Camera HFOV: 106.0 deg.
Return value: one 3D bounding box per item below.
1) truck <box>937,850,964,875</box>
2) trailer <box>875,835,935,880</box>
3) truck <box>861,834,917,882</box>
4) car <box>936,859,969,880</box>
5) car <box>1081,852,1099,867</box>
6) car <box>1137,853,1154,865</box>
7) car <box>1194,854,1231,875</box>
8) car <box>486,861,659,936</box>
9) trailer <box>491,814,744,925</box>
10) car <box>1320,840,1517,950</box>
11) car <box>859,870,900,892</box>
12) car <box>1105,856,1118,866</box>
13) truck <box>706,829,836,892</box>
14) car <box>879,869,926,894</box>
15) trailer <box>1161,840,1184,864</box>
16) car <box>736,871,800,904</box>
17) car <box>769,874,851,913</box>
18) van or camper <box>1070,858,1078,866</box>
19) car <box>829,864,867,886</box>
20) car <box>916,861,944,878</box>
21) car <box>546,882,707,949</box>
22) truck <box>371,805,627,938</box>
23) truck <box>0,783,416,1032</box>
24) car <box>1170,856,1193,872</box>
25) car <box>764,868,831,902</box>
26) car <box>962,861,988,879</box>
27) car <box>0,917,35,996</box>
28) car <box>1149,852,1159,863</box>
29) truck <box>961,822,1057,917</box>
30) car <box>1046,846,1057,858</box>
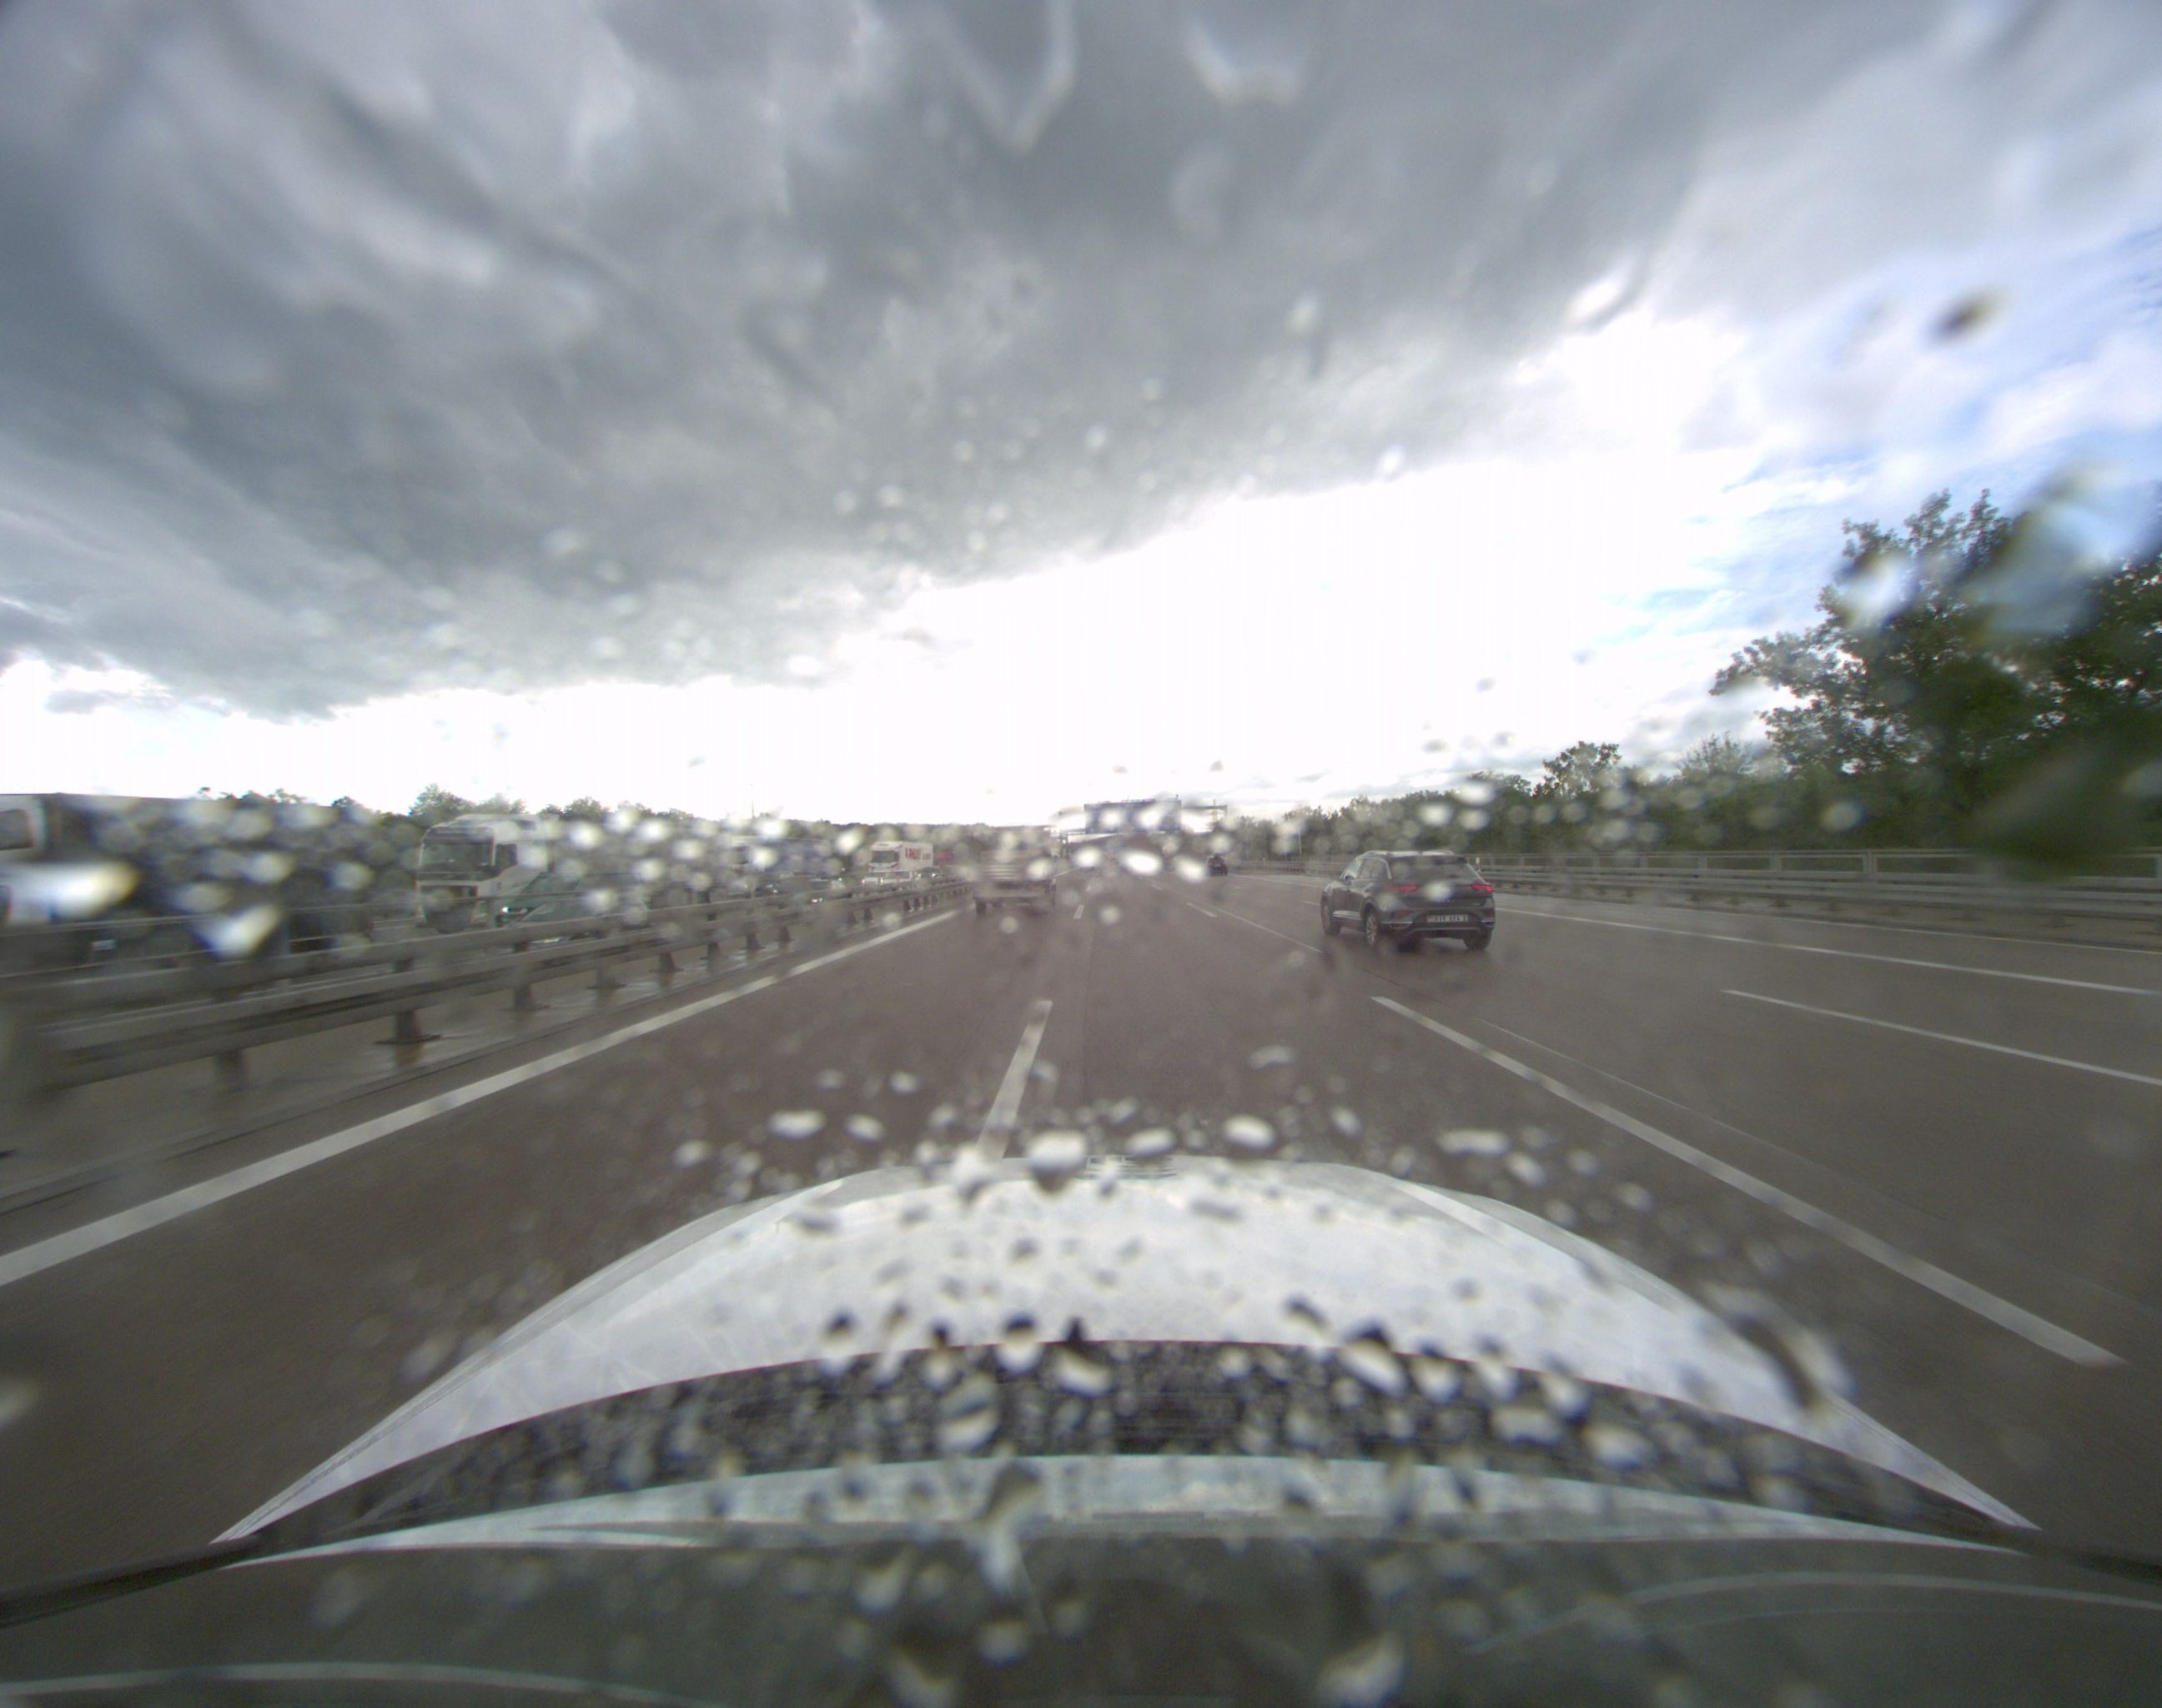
[{"bbox_3d":[-19.609,1.273,122.687,2.454,3.537,7.810,-2,0,1],"label":"truck"},{"bbox_3d":[-17.807,0.339,83.622,3.175,4.194,11.960,-2,0,1],"label":"trailer"},{"bbox_3d":[-17.984,0.370,76.890,3.166,4.194,7.740,-2,0,1],"label":"truck"},{"bbox_3d":[-10.398,1.224,66.219,1.785,1.619,4.286,-2,0,2],"label":"car"},{"bbox_3d":[1.070,0.627,98.880,2.037,1.699,4.002,-1,0,2],"label":"car"},{"bbox_3d":[9.389,0.687,118.619,2.091,1.699,3.998,-1,0,-1],"label":"car"},{"bbox_3d":[10.726,0.856,66.813,2.099,1.605,5.063,-1,0,-1],"label":"car"},{"bbox_3d":[-16.061,1.298,26.225,1.814,2.052,5.677,-2,0,2],"label":"car"},{"bbox_3d":[-19.203,0.564,35.516,3.231,3.933,13.021,0,0,2],"label":"trailer"},{"bbox_3d":[5.384,0.605,13.545,1.786,1.562,3.722,-1,0,1],"label":"car"},{"bbox_3d":[-14.957,2.008,60.746,1.639,1.510,4.862,-1,-2,2],"label":"car"},{"bbox_3d":[5.126,1.183,136.031,2.037,1.699,4.002,-1,0,2],"label":"car"},{"bbox_3d":[-22.761,0.402,61.635,2.639,4.021,17.751,-2,0,1],"label":"truck"},{"bbox_3d":[-10.898,1.638,50.038,1.713,1.354,4.627,-2,0,2],"label":"car"},{"bbox_3d":[16.789,-0.384,149.552,3.319,4.176,11.845,0,0,2],"label":"trailer"},{"bbox_3d":[-18.882,1.983,49.362,1.960,1.747,4.577,-2,0,2],"label":"car"},{"bbox_3d":[-11.175,1.571,33.862,1.713,1.354,4.536,-2,0,2],"label":"car"},{"bbox_3d":[-2.122,2.428,242.490,2.087,2.186,4.974,-1,0,2],"label":"van or camper"},{"bbox_3d":[-18.338,1.613,64.250,1.639,1.545,4.002,-2,0,2],"label":"car"},{"bbox_3d":[-14.350,1.449,77.614,1.639,1.503,4.679,-2,0,2],"label":"car"},{"bbox_3d":[-11.341,1.477,20.670,1.713,1.354,4.002,-2,0,2],"label":"car"},{"bbox_3d":[-19.423,0.538,28.009,3.187,3.933,7.577,0,0,2],"label":"truck"},{"bbox_3d":[-15.988,0.771,13.554,2.510,3.399,8.544,-2,0,2],"label":"truck"},{"bbox_3d":[11.225,1.048,91.407,2.038,1.699,5.008,-1,0,1],"label":"car"},{"bbox_3d":[-15.413,1.658,44.555,1.814,1.624,4.700,-2,0,2],"label":"car"},{"bbox_3d":[-10.293,1.507,79.110,1.785,1.619,4.002,-2,0,2],"label":"car"},{"bbox_3d":[-19.843,1.840,12.691,1.713,1.354,4.087,-2,0,2],"label":"car"},{"bbox_3d":[16.628,0.726,186.025,2.037,2.498,4.002,-1,0,2],"label":"car"},{"bbox_3d":[-1.956,0.390,24.554,2.346,2.408,7.354,0,0,-1],"label":"truck"},{"bbox_3d":[-8.271,-0.605,227.728,2.488,3.300,7.631,-1,0,2],"label":"car"}]
